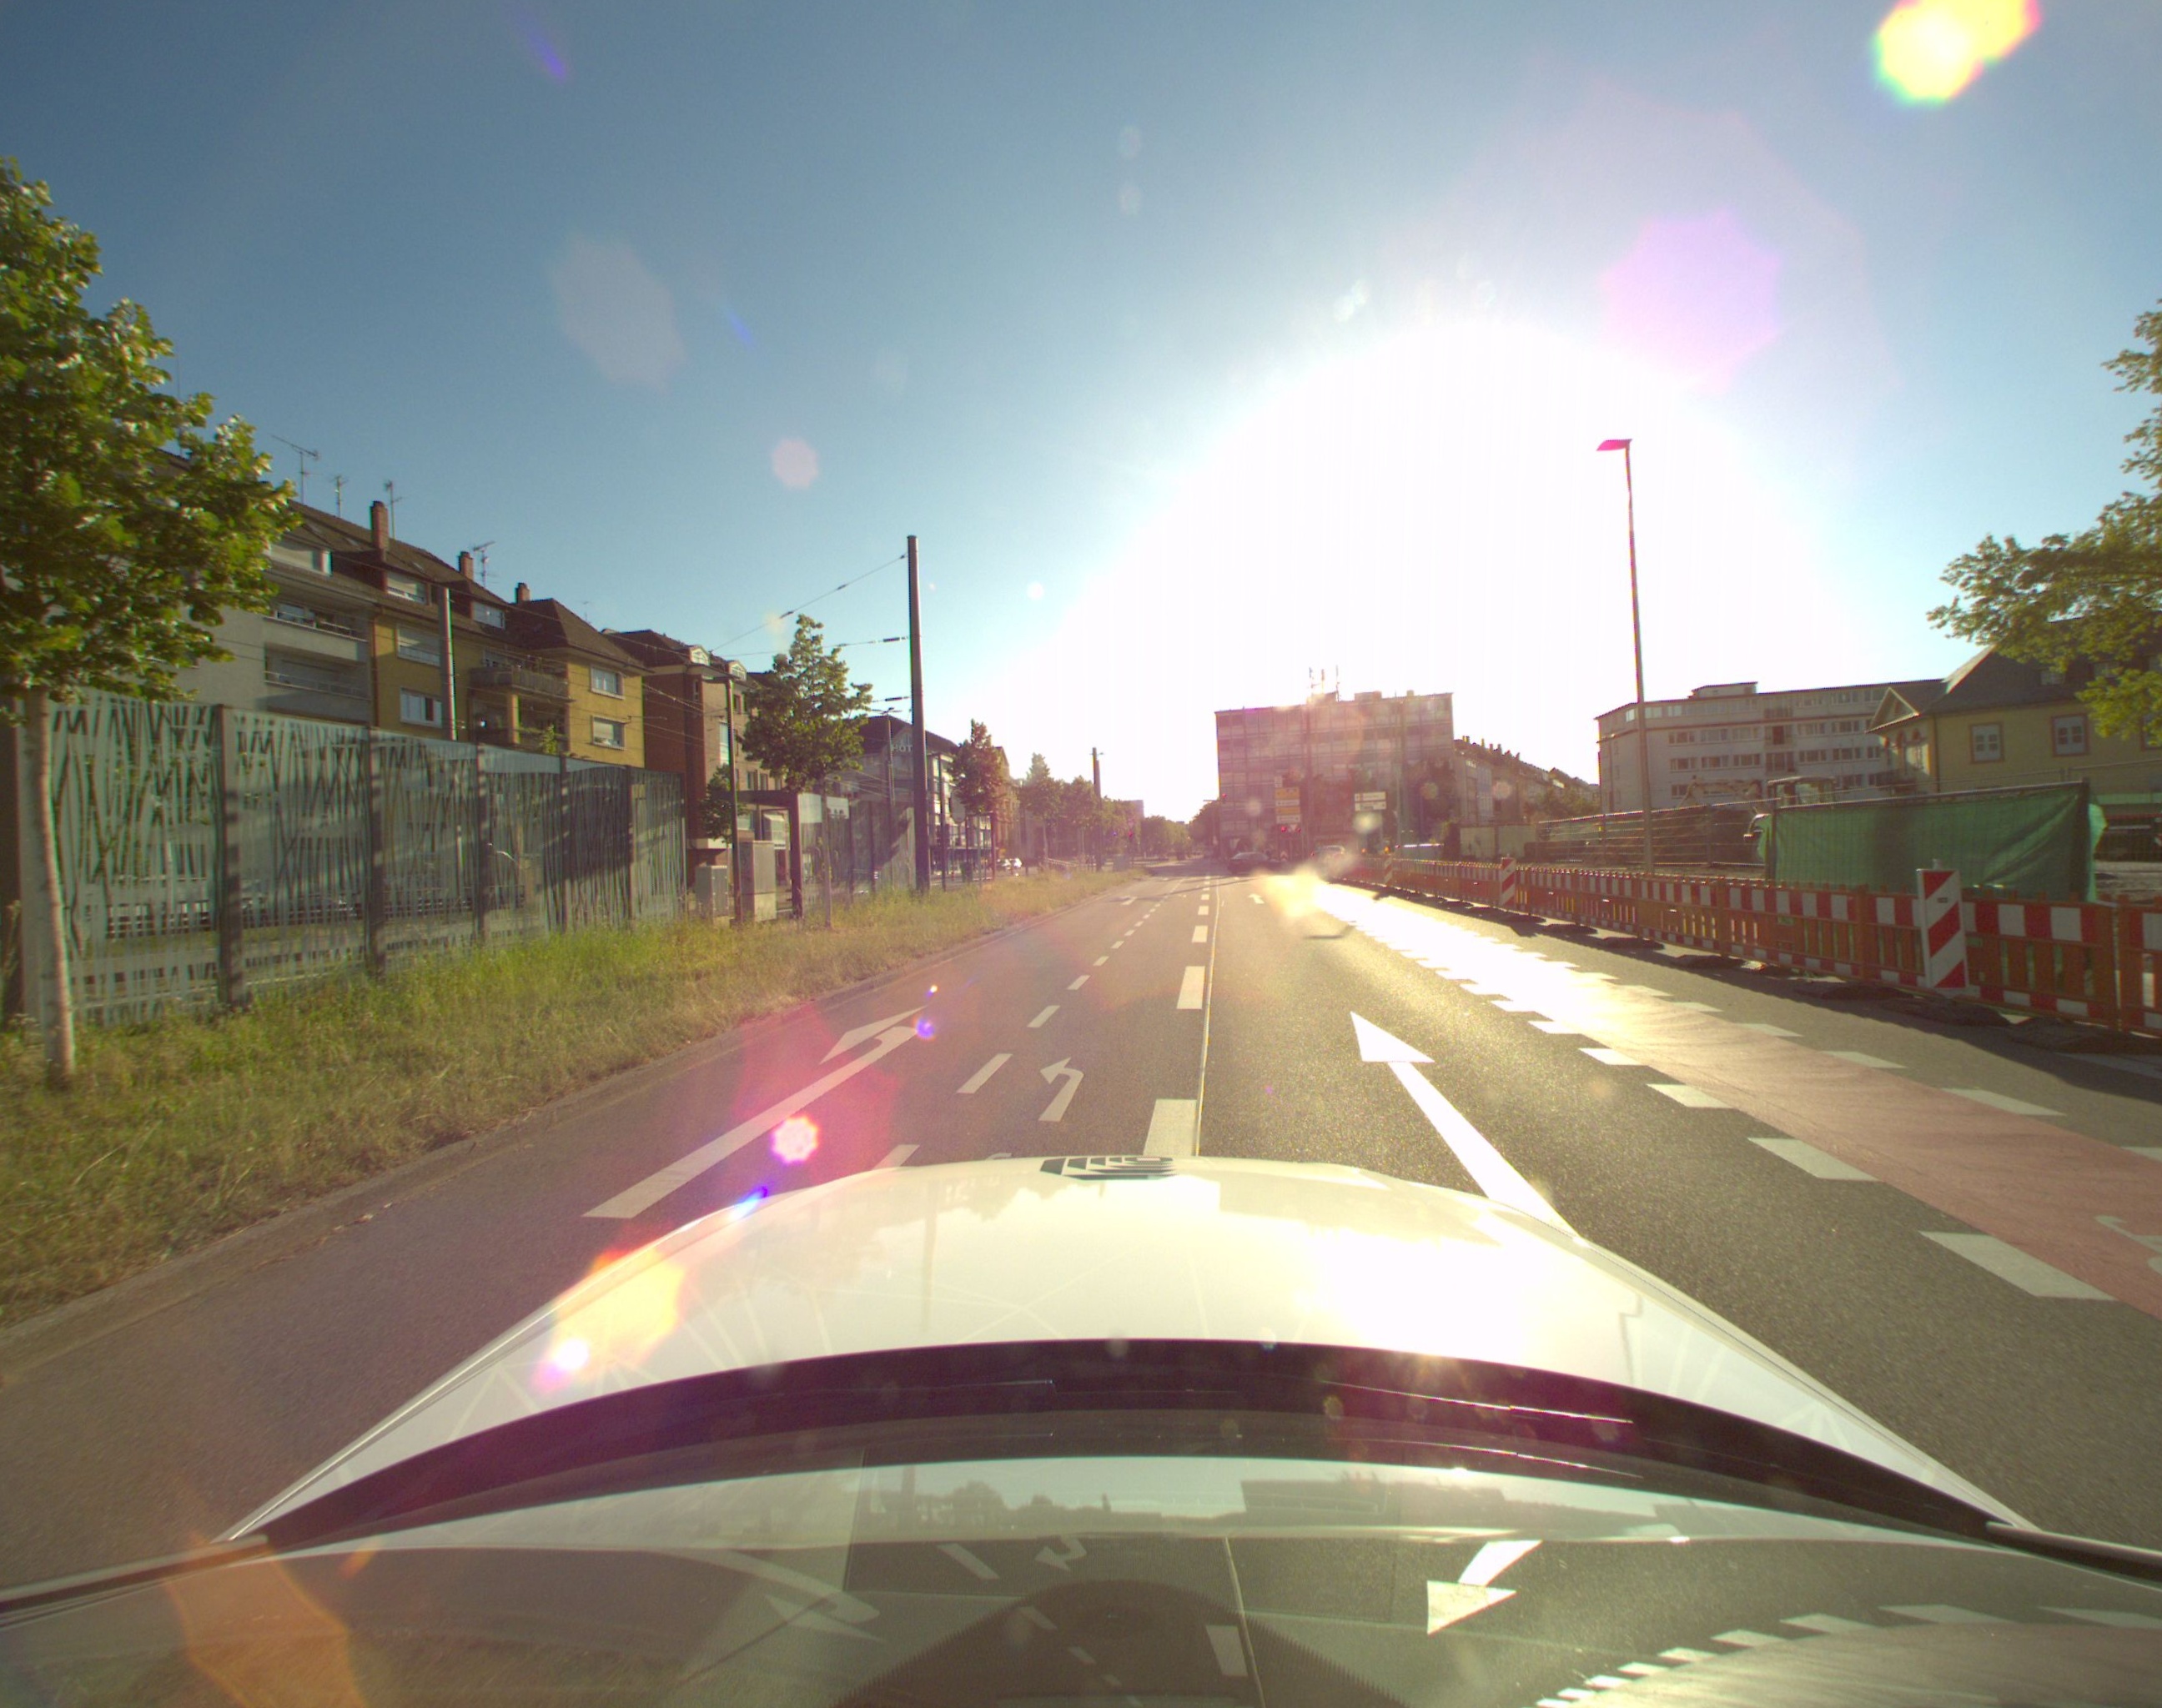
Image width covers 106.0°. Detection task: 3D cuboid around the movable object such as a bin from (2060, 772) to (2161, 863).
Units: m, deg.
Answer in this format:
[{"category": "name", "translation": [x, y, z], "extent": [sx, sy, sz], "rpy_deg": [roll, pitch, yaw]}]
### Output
[{"category": "movable object such as a bin", "translation": [32.079, -1.115, 23.248], "extent": [5.006, 2.323, 2.227], "rpy_deg": [-3, -5, 5]}]

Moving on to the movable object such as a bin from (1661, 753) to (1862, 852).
[{"category": "movable object such as a bin", "translation": [27.855, -1.990, 33.746], "extent": [6.002, 3.557, 2.880], "rpy_deg": [-3, 0, 34]}]

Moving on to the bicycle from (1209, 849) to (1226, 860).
[{"category": "bicycle", "translation": [15.691, 0.057, 93.682], "extent": [1.770, 1.072, 0.535], "rpy_deg": [-3, 0, -1]}]

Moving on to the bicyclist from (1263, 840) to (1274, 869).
[{"category": "bicyclist", "translation": [13.243, 0.043, 57.590], "extent": [0.639, 2.013, 1.070], "rpy_deg": [-1, 2, 10]}]

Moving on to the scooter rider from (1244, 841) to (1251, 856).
[{"category": "scooter rider", "translation": [18.971, -0.618, 92.804], "extent": [0.661, 1.712, 0.526], "rpy_deg": [-3, 0, -1]}]

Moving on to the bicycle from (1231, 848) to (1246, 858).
[{"category": "bicycle", "translation": [18.954, -0.111, 98.119], "extent": [1.727, 1.059, 0.539], "rpy_deg": [-3, 0, -1]}]

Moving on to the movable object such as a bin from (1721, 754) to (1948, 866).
[{"category": "movable object such as a bin", "translation": [20.923, -1.120, 23.006], "extent": [2.262, 2.703, 4.954], "rpy_deg": [-3, 0, 9]}]

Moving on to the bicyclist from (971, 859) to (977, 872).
[{"category": "bicyclist", "translation": [-14.776, 1.598, 112.339], "extent": [0.589, 1.862, 0.644], "rpy_deg": [-3, 0, 10]}]

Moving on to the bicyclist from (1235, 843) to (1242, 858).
[{"category": "bicyclist", "translation": [18.947, -0.445, 98.122], "extent": [0.661, 1.712, 0.538], "rpy_deg": [-3, 0, -1]}]

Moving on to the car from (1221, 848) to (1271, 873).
[{"category": "car", "translation": [10.793, 0.414, 53.020], "extent": [1.726, 1.426, 4.026], "rpy_deg": [-2, 0, 34]}]

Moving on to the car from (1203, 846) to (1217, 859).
[{"category": "car", "translation": [24.581, -0.280, 155.006], "extent": [2.472, 2.392, 5.948], "rpy_deg": [-4, -1, 8]}]

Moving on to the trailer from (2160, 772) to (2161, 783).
[{"category": "trailer", "translation": [31.964, -1.303, 20.867], "extent": [5.006, 2.323, 2.227], "rpy_deg": [-3, -5, 5]}]

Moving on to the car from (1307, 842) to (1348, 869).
[{"category": "car", "translation": [17.265, 0.094, 56.820], "extent": [1.975, 1.693, 4.025], "rpy_deg": [-1, 1, 28]}]

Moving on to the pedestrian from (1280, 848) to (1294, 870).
[{"category": "pedestrian", "translation": [15.703, 0.378, 62.129], "extent": [0.873, 1.597, 0.657], "rpy_deg": [-3, 0, 8]}]

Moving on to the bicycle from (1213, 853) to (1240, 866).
[{"category": "bicycle", "translation": [12.575, 0.480, 70.415], "extent": [2.211, 1.026, 0.684], "rpy_deg": [-2, 0, 12]}]

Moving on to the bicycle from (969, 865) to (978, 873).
[{"category": "bicycle", "translation": [-14.784, 2.058, 112.338], "extent": [0.594, 0.915, 1.841], "rpy_deg": [-3, 0, 11]}]

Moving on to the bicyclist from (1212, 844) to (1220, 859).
[{"category": "bicyclist", "translation": [15.525, -0.269, 93.679], "extent": [0.661, 1.712, 0.538], "rpy_deg": [-3, 0, -1]}]

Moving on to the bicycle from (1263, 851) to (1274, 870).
[{"category": "bicycle", "translation": [13.239, 0.452, 57.453], "extent": [0.640, 1.223, 2.054], "rpy_deg": [-1, 2, 10]}]

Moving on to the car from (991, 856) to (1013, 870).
[{"category": "car", "translation": [-11.240, 1.323, 116.573], "extent": [1.980, 1.860, 4.013], "rpy_deg": [-3, 0, 11]}]

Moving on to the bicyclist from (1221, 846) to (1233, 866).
[{"category": "bicyclist", "translation": [12.618, 0.158, 70.412], "extent": [0.952, 1.661, 0.693], "rpy_deg": [-2, 0, 12]}]
